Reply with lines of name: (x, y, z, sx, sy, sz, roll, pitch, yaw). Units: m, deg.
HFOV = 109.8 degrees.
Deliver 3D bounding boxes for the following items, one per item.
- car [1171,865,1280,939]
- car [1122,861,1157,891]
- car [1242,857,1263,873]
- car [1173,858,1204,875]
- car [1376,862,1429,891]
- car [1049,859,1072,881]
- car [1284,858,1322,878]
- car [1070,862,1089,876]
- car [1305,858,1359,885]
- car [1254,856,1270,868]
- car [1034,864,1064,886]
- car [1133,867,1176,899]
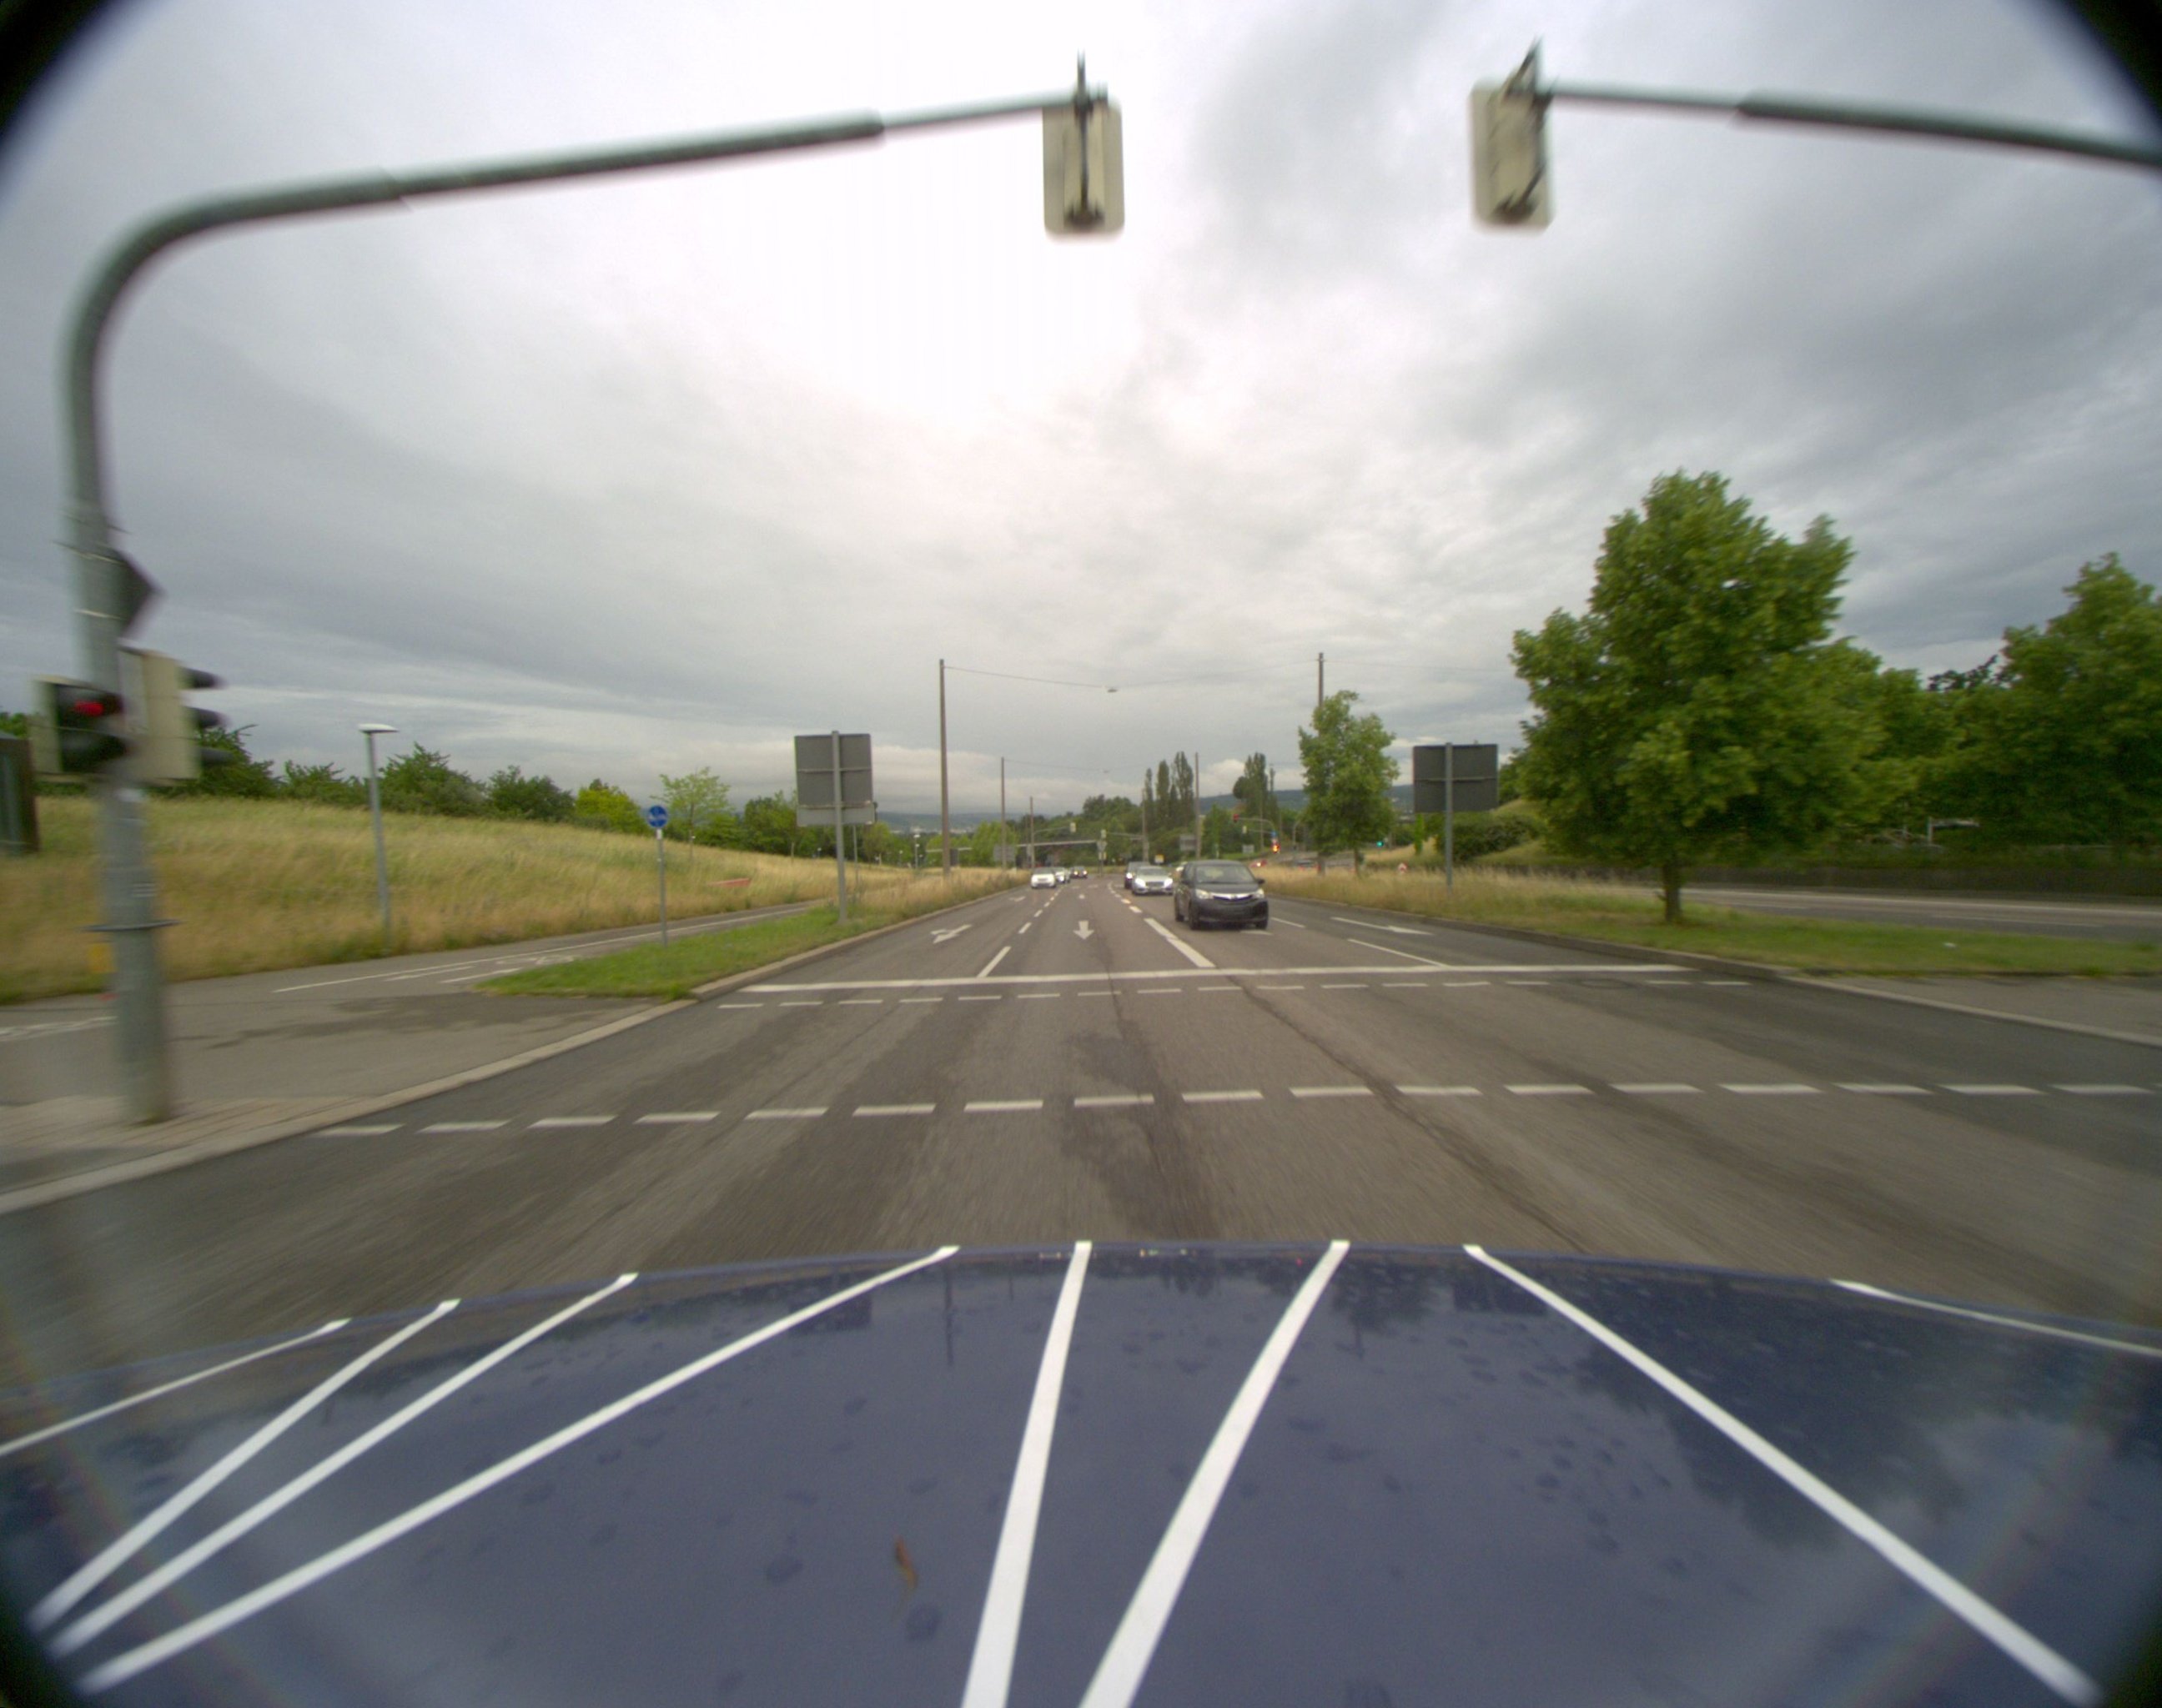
car: (3.327, 1.069, 18.290, 1.800, 1.556, 4.043, -1, -1, -1)
car: (3.616, 1.357, 47.833, 1.927, 1.725, 4.026, 2, -1, 1)
car: (22.952, 1.504, 101.458, 1.996, 2.001, 4.007, -4, -2, 21)
car: (13.090, 1.512, 92.129, 1.995, 2.001, 4.008, -5, -3, 35)
car: (22.877, 1.562, 54.283, 1.999, 2.002, 3.999, 0, 0, -1)
car: (-1.856, 1.429, 68.847, 1.843, 1.532, 3.815, -4, 3, 0)
car: (19.118, 1.200, 65.649, 1.866, 1.610, 3.999, -2, -1, -3)
car: (-0.213, 1.869, 97.437, 1.999, 1.632, 4.627, -3, 0, -3)
car: (16.652, 1.164, 50.620, 1.999, 1.629, 4.019, -3, -1, -3)
car: (30.025, 1.330, 126.176, 1.995, 2.001, 4.007, -2, -2, 21)
car: (-2.330, 1.539, 56.048, 1.725, 1.513, 4.229, -1, -1, 5)
car: (3.609, 1.391, 37.686, 1.998, 1.399, 4.526, 1, 0, 5)
